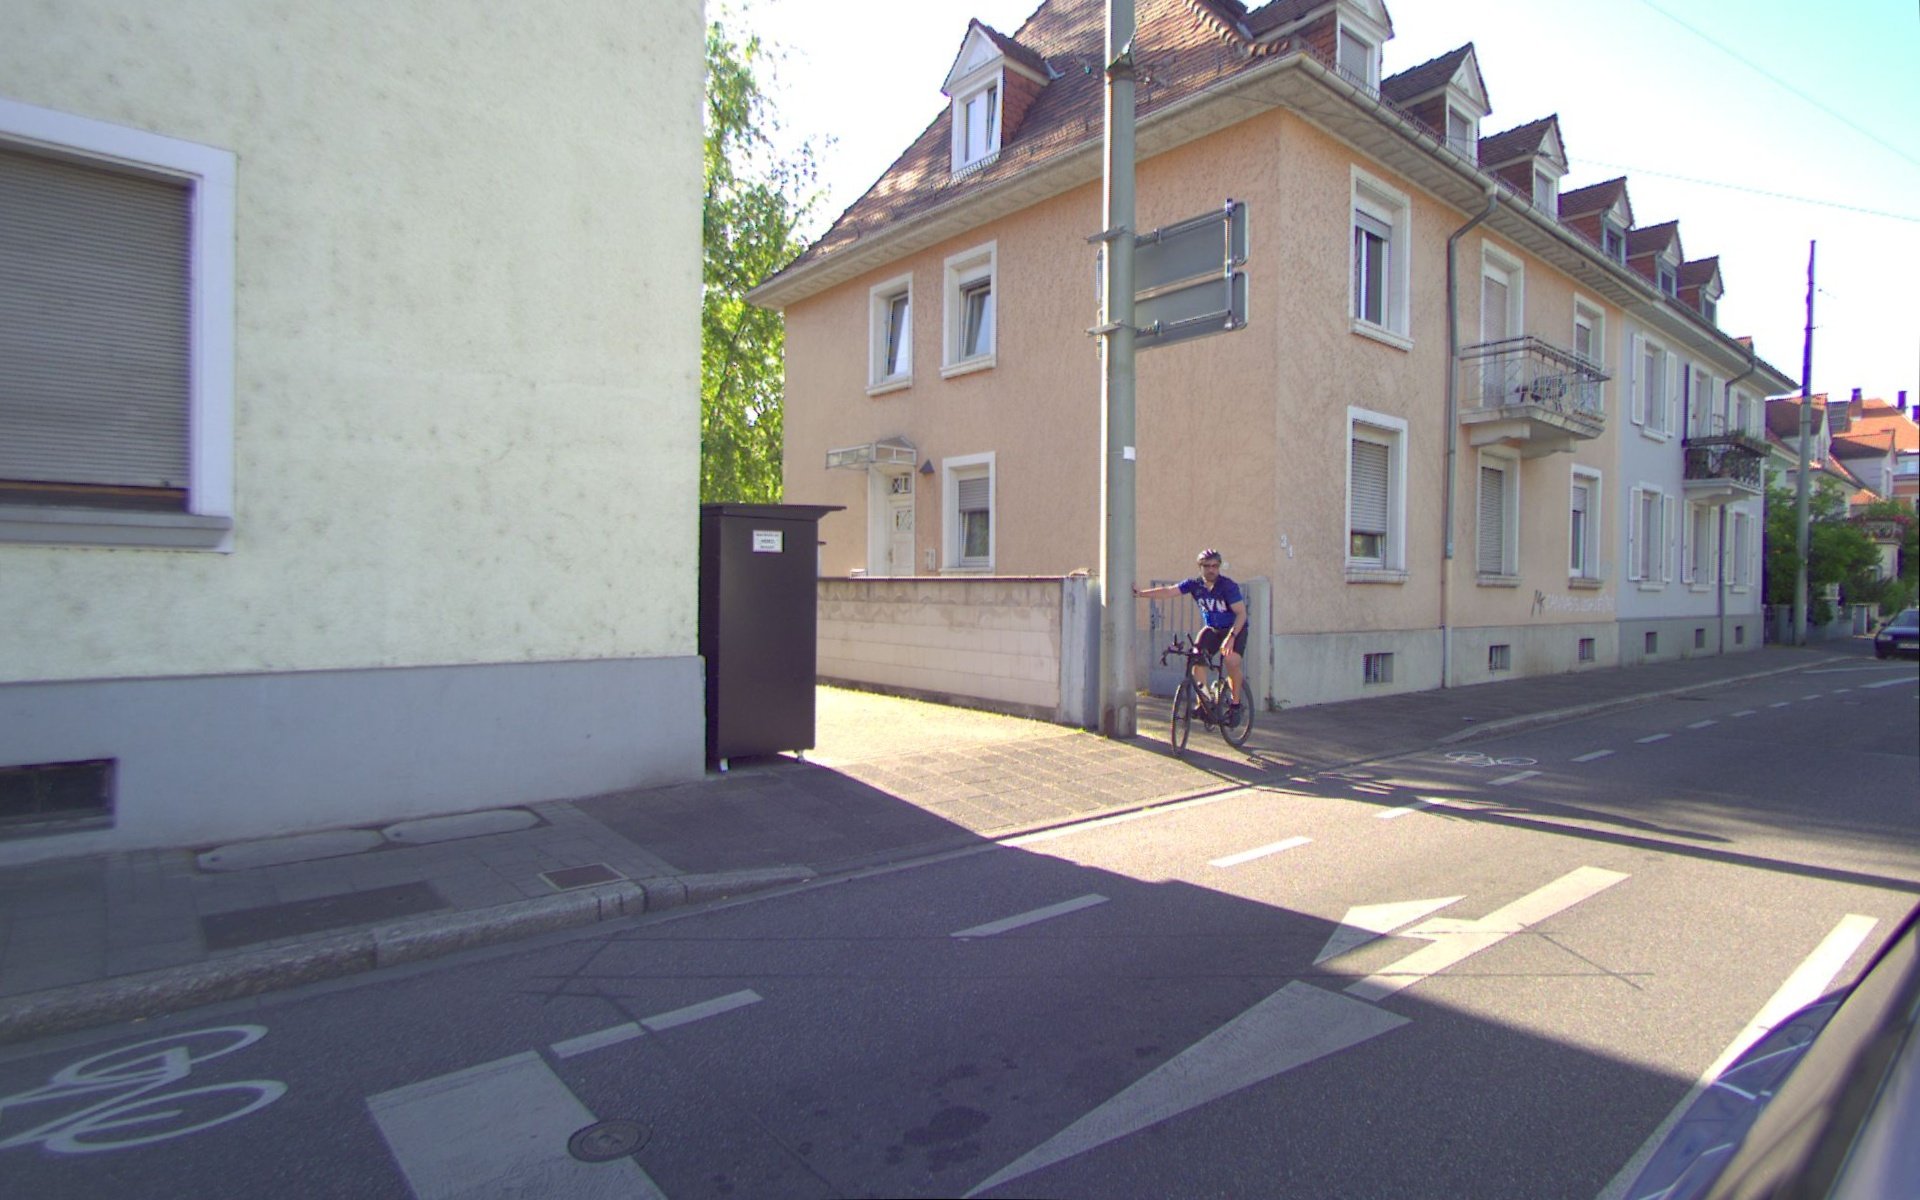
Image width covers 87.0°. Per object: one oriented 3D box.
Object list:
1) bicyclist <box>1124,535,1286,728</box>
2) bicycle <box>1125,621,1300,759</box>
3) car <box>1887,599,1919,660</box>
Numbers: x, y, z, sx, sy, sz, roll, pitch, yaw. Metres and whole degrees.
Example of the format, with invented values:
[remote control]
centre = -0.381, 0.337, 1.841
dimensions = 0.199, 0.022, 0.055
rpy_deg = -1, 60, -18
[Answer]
[bicyclist]
centre = 2.291, 0.256, 9.515
dimensions = 0.870, 1.627, 1.052
rpy_deg = 1, 5, -41
[bicycle]
centre = 2.356, 0.779, 9.330
dimensions = 1.744, 1.081, 0.592
rpy_deg = 0, 5, -41
[car]
centre = 26.693, 0.759, 27.370
dimensions = 3.742, 1.601, 1.696
rpy_deg = 0, -1, -36
